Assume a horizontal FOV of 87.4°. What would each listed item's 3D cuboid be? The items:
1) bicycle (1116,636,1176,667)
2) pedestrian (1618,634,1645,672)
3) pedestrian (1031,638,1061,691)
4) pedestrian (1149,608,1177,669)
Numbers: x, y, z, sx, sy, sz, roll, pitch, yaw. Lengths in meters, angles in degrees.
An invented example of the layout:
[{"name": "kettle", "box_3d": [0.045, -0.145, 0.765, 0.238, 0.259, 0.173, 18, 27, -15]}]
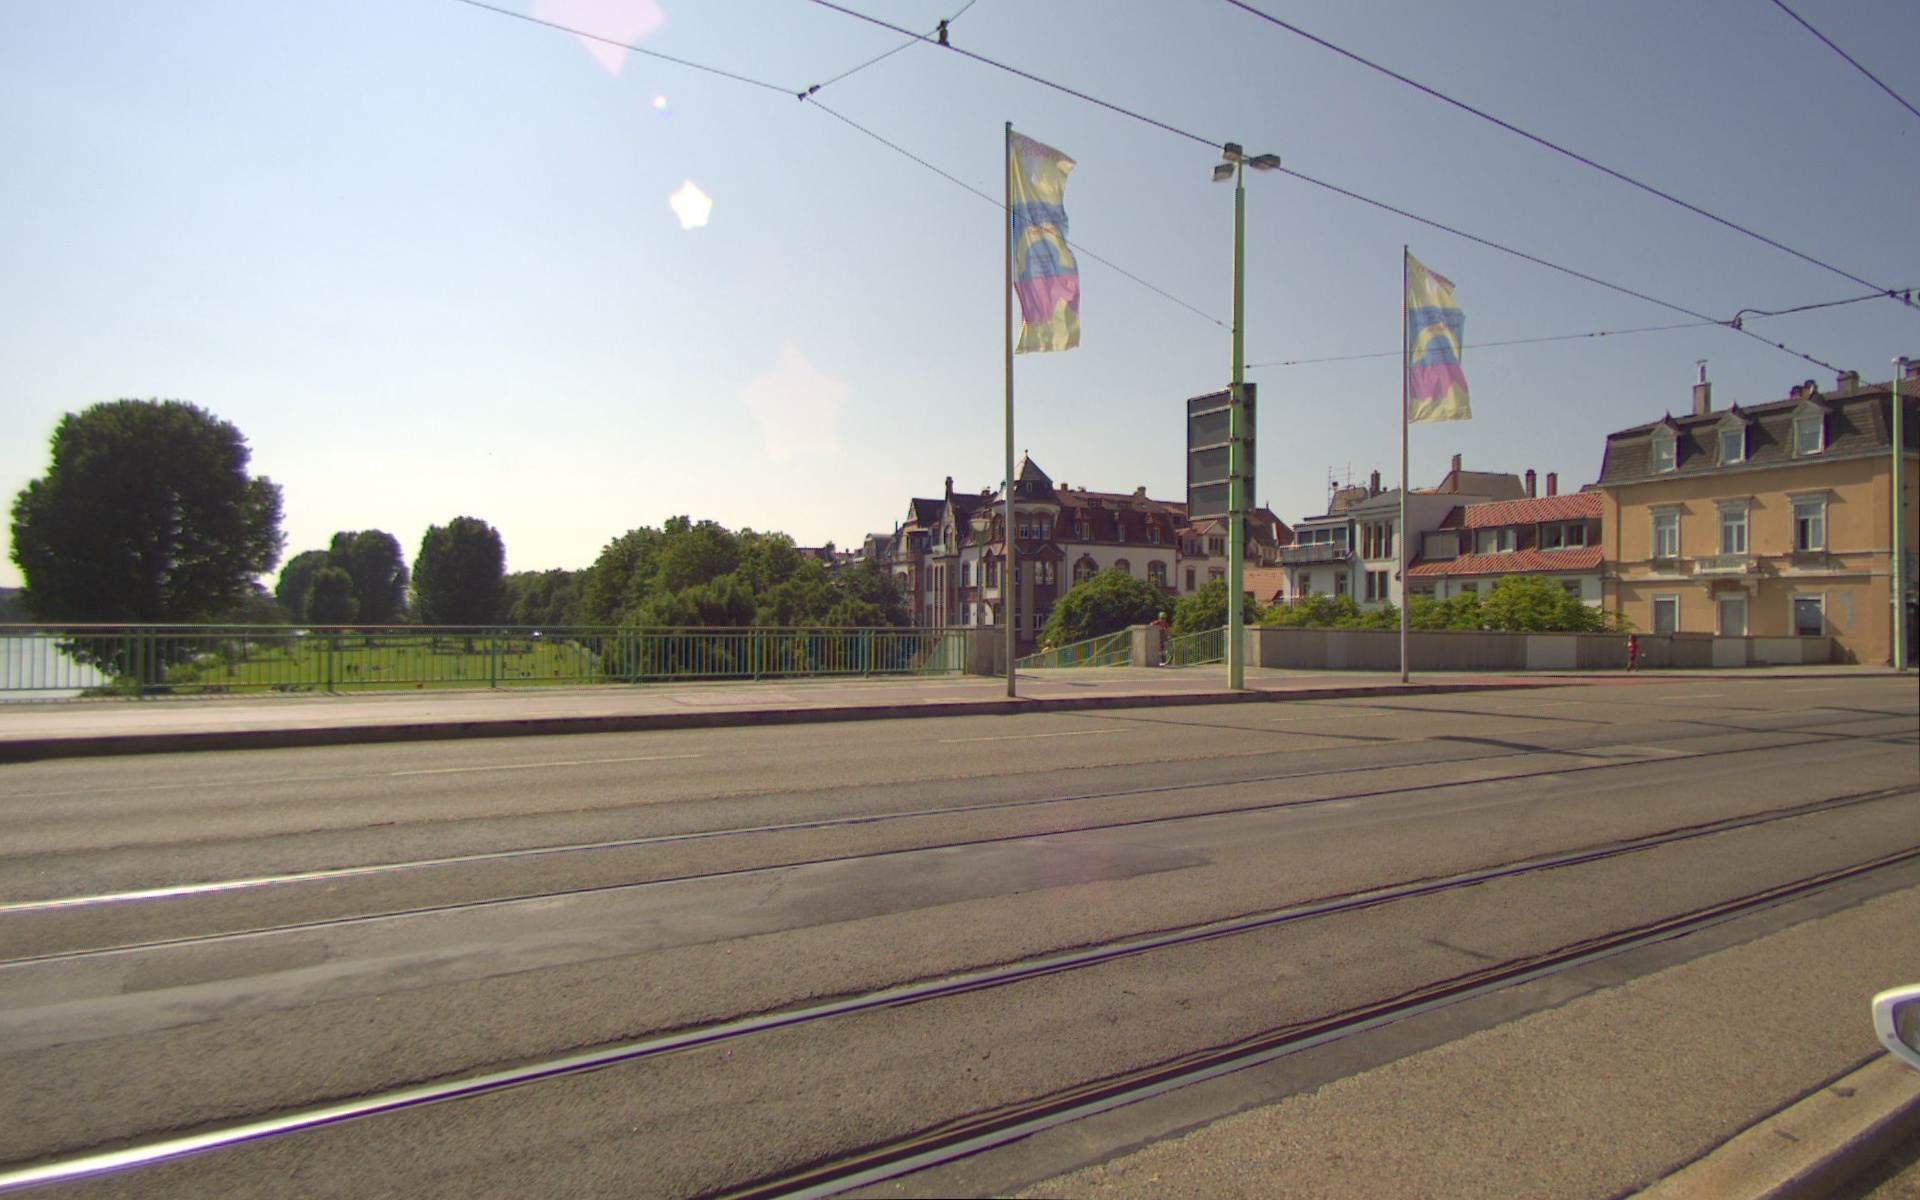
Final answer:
[{"name": "bicycle", "box_3d": [5.160, 1.413, 27.996, 0.614, 0.726, 1.920, 0, 1, -27]}, {"name": "pedestrian", "box_3d": [21.254, 1.668, 31.789, 0.537, 1.161, 0.411, 2, 3, -22]}, {"name": "pedestrian", "box_3d": [2.978, 2.227, 34.786, 0.791, 1.804, 0.743, 1, -1, -25]}, {"name": "pedestrian", "box_3d": [5.682, 1.063, 28.118, 0.408, 1.654, 0.623, 1, 1, -28]}]
